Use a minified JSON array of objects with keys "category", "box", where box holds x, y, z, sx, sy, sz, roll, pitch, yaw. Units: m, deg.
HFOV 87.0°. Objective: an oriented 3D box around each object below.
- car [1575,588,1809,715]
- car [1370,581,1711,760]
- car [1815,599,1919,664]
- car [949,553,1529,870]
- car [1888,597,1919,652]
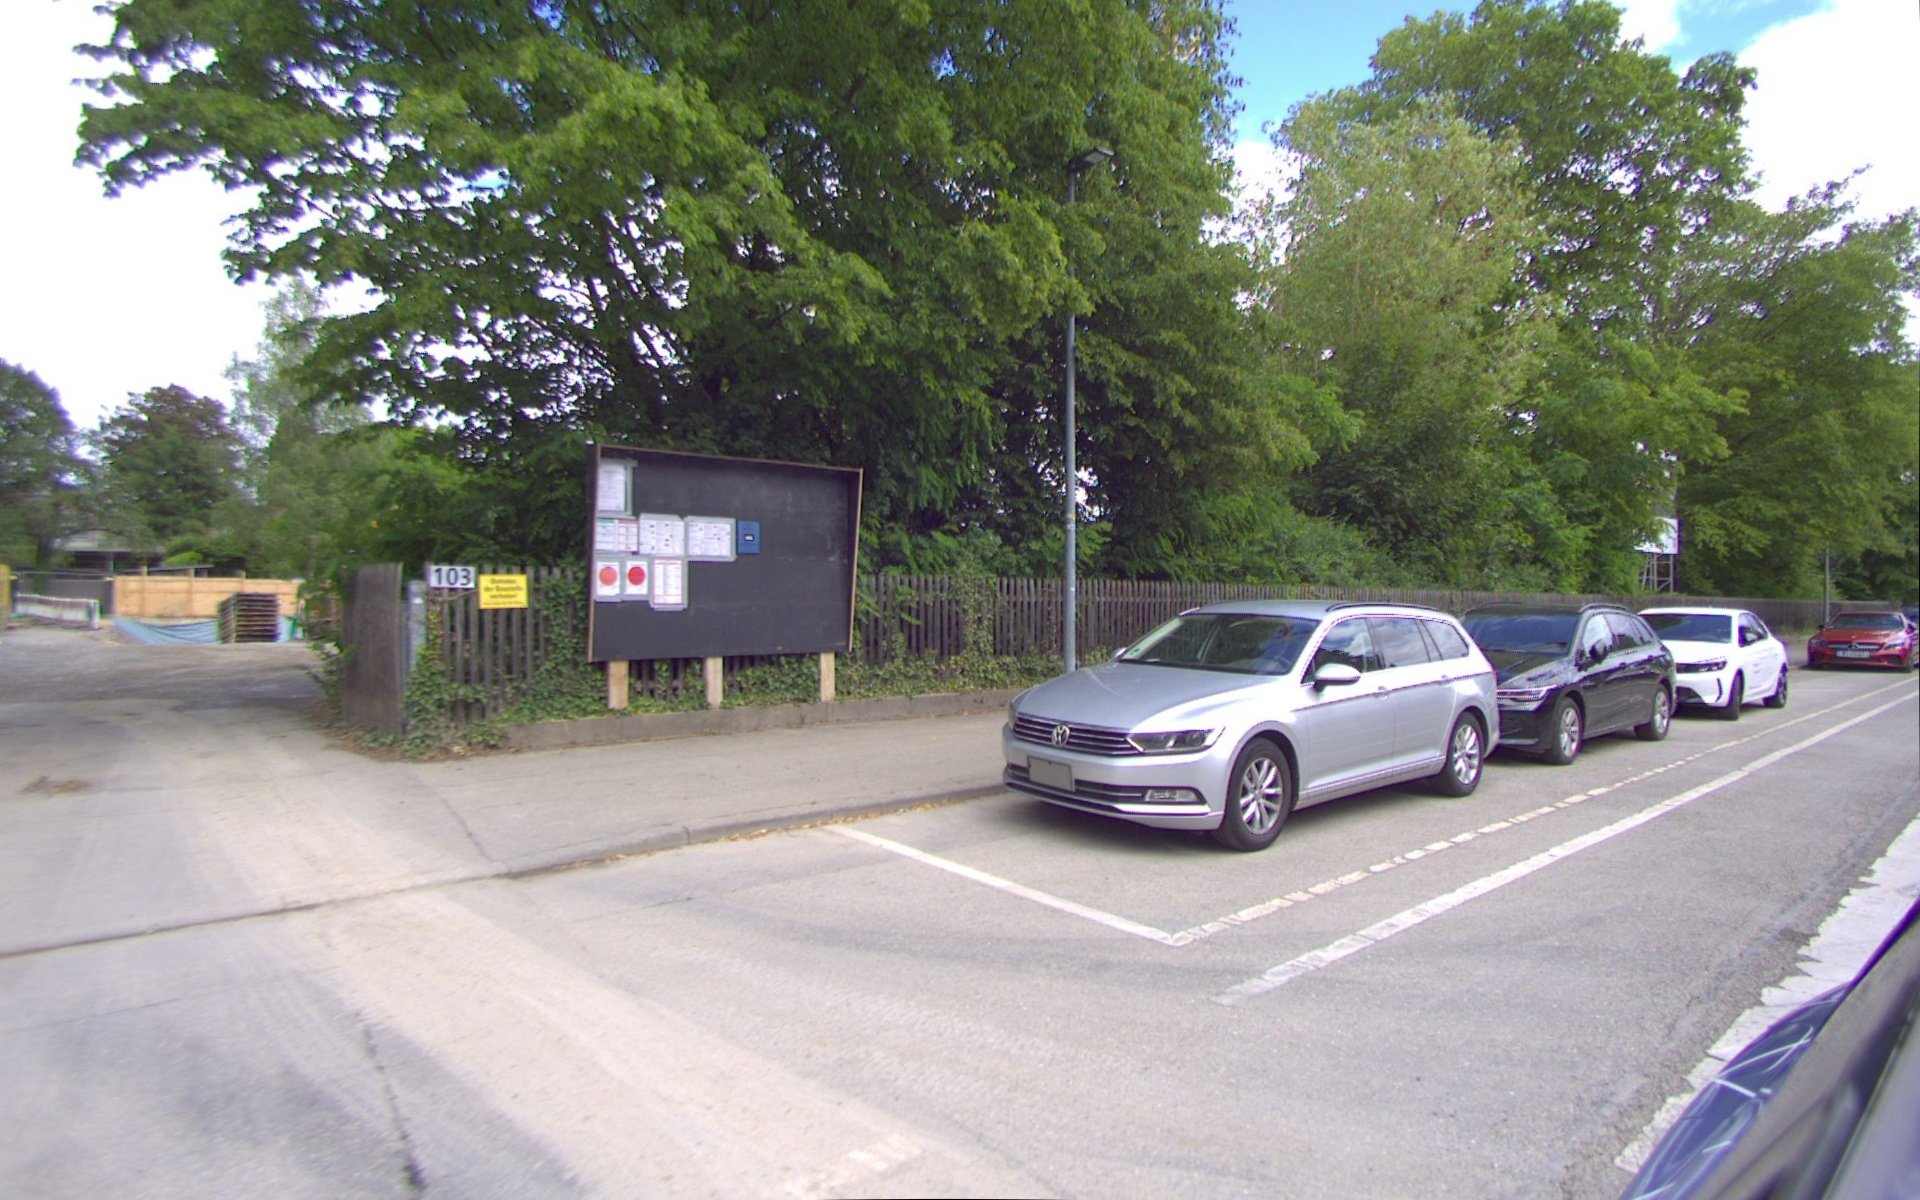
[{"category":"car","box":[10.517,0.613,14.451,3.959,1.529,1.772,-1,1,-39]},{"category":"car","box":[6.291,0.614,10.738,4.456,1.529,1.705,0,-1,-40]},{"category":"car","box":[22.163,0.720,24.190,4.363,1.432,1.863,0,-2,-39]},{"category":"car","box":[2.275,0.548,7.421,4.605,1.631,1.864,-1,0,-41]},{"category":"car","box":[29.237,0.687,30.127,4.598,1.534,1.819,-1,0,-41]}]
